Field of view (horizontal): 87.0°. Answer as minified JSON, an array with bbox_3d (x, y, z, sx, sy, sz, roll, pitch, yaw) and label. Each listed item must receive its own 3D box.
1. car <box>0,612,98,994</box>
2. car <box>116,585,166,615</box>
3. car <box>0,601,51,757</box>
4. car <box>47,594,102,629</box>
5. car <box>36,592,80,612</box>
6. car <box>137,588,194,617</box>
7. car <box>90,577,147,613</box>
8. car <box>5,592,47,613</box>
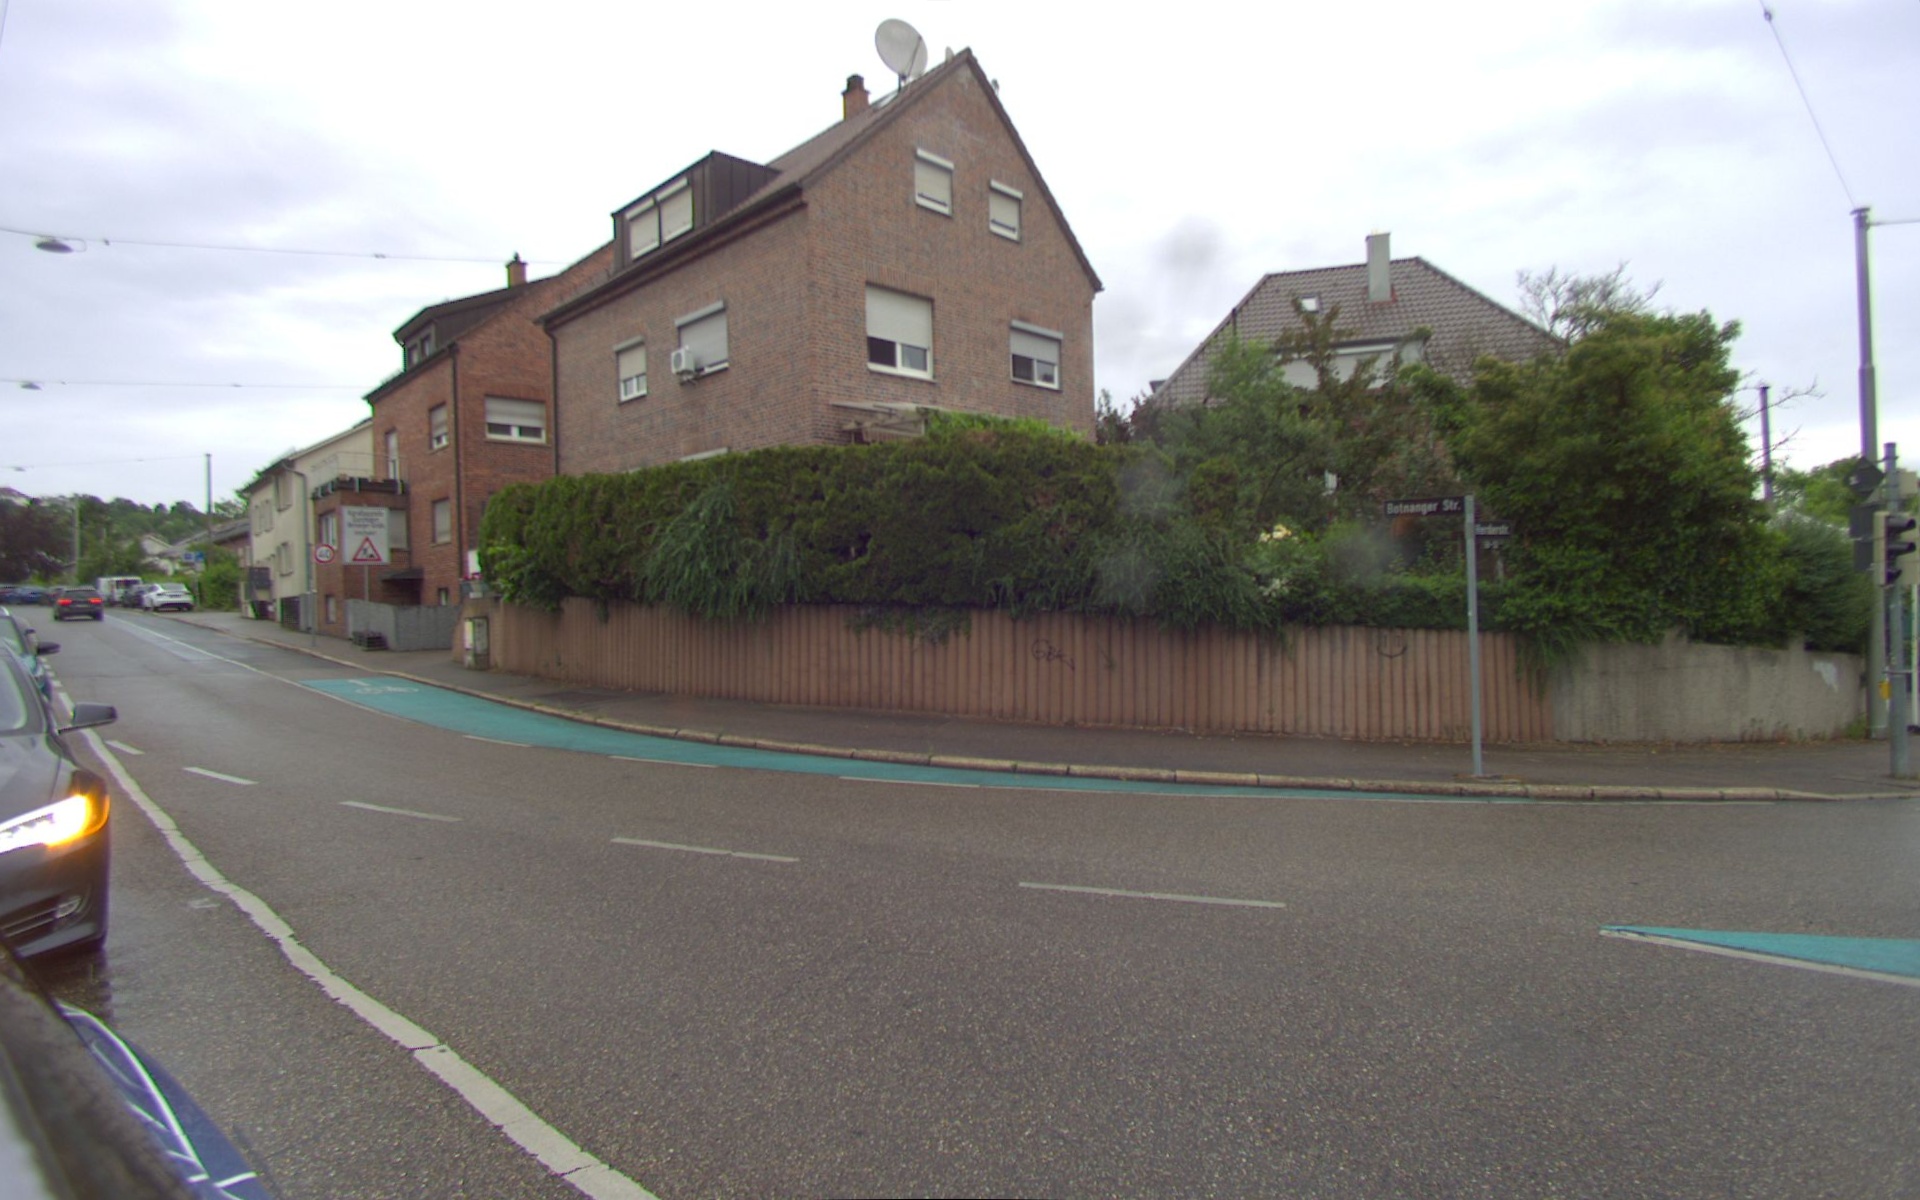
[{"bbox_3d":[-5.539,0.798,4.831,4.002,1.426,1.845,0,0,45],"label":"car"},{"bbox_3d":[-52.378,-0.005,64.702,4.262,1.817,1.791,0,2,42],"label":"car"},{"bbox_3d":[-11.522,0.808,11.347,3.785,1.601,1.765,0,0,45],"label":"car"},{"bbox_3d":[-45.585,0.552,52.059,4.175,1.693,1.827,1,-1,45],"label":"car"},{"bbox_3d":[-66.587,0.146,74.729,3.854,1.407,1.635,-1,2,36],"label":"car"},{"bbox_3d":[-46.428,0.166,59.110,4.262,1.577,1.921,0,2,42],"label":"car"},{"bbox_3d":[-57.025,-0.315,68.558,4.544,2.303,2.229,0,2,41],"label":"car"},{"bbox_3d":[-71.263,0.185,77.228,3.895,1.501,1.605,-1,2,36],"label":"car"}]
